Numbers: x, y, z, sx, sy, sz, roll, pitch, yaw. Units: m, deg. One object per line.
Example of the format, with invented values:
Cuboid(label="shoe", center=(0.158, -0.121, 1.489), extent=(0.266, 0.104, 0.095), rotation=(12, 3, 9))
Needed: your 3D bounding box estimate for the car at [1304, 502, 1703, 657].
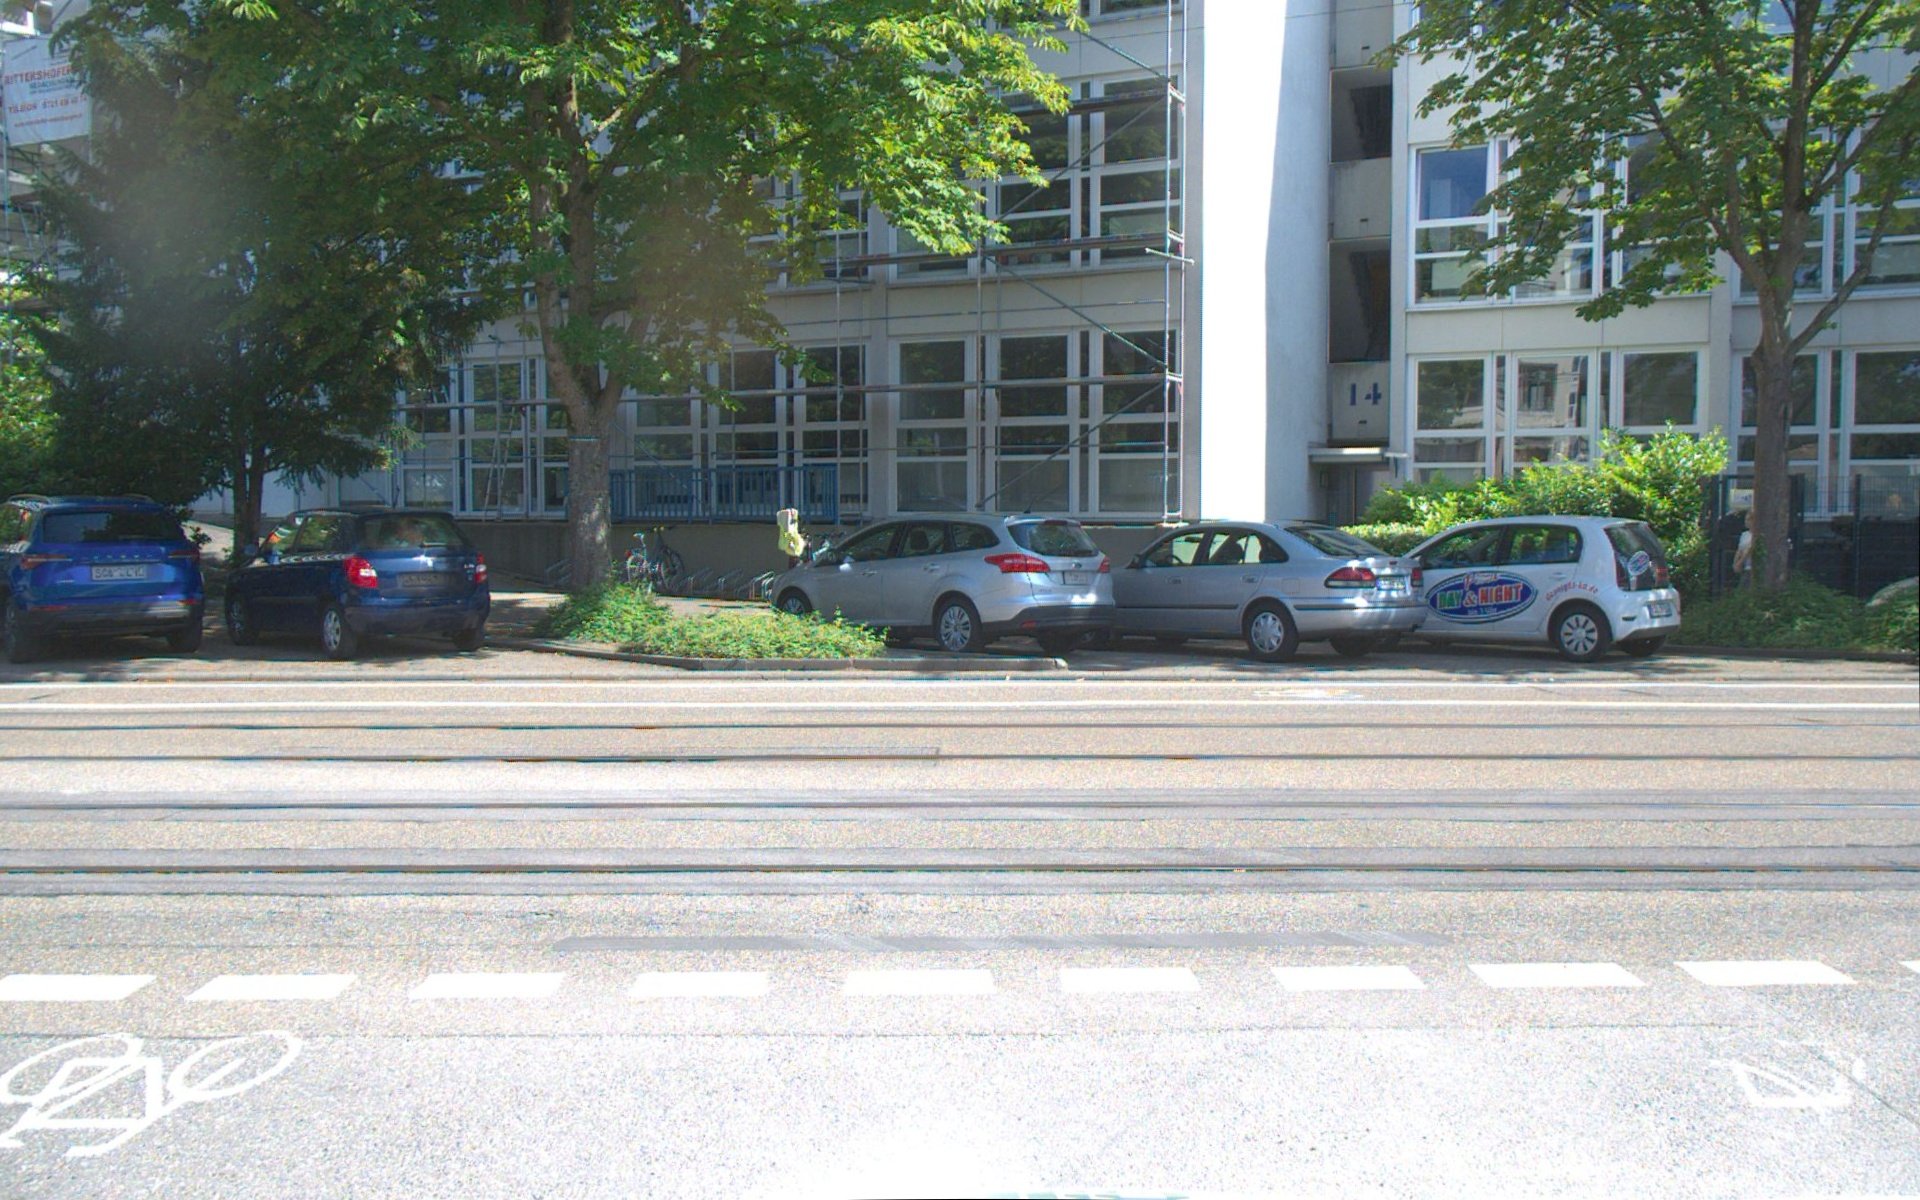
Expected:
Cuboid(label="car", center=(5.867, -0.257, 18.152), extent=(1.601, 1.511, 3.881), rotation=(-3, 3, -44))

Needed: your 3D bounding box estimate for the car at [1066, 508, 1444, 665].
Cuboid(label="car", center=(3.093, -0.220, 17.907), extent=(1.600, 1.511, 3.883), rotation=(-3, 4, -43))

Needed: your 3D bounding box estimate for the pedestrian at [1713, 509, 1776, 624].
Cuboid(label="pedestrian", center=(10.331, -0.447, 21.793), extent=(0.607, 1.486, 0.424), rotation=(-1, 2, -3))

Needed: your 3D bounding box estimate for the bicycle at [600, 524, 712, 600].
Cuboid(label="bicycle", center=(-4.673, -0.614, 25.601), extent=(0.725, 1.104, 2.205), rotation=(0, 3, 18))

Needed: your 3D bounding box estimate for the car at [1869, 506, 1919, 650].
Cuboid(label="car", center=(12.527, -0.229, 18.133), extent=(4.267, 1.632, 1.549), rotation=(2, 3, 42))

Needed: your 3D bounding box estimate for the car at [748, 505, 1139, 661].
Cuboid(label="car", center=(-0.283, -0.267, 18.200), extent=(4.362, 1.511, 1.772), rotation=(2, 4, 45))

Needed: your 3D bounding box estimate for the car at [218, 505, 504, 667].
Cuboid(label="car", center=(-6.454, -0.220, 17.667), extent=(3.401, 1.557, 1.566), rotation=(2, 4, 45))

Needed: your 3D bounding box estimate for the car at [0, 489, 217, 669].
Cuboid(label="car", center=(-9.469, -0.330, 17.630), extent=(1.765, 1.650, 3.888), rotation=(-4, 6, -41))

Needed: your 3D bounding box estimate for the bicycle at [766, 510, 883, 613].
Cuboid(label="bicycle", center=(-2.000, -0.605, 24.694), extent=(0.649, 1.478, 2.086), rotation=(1, 3, 30))
